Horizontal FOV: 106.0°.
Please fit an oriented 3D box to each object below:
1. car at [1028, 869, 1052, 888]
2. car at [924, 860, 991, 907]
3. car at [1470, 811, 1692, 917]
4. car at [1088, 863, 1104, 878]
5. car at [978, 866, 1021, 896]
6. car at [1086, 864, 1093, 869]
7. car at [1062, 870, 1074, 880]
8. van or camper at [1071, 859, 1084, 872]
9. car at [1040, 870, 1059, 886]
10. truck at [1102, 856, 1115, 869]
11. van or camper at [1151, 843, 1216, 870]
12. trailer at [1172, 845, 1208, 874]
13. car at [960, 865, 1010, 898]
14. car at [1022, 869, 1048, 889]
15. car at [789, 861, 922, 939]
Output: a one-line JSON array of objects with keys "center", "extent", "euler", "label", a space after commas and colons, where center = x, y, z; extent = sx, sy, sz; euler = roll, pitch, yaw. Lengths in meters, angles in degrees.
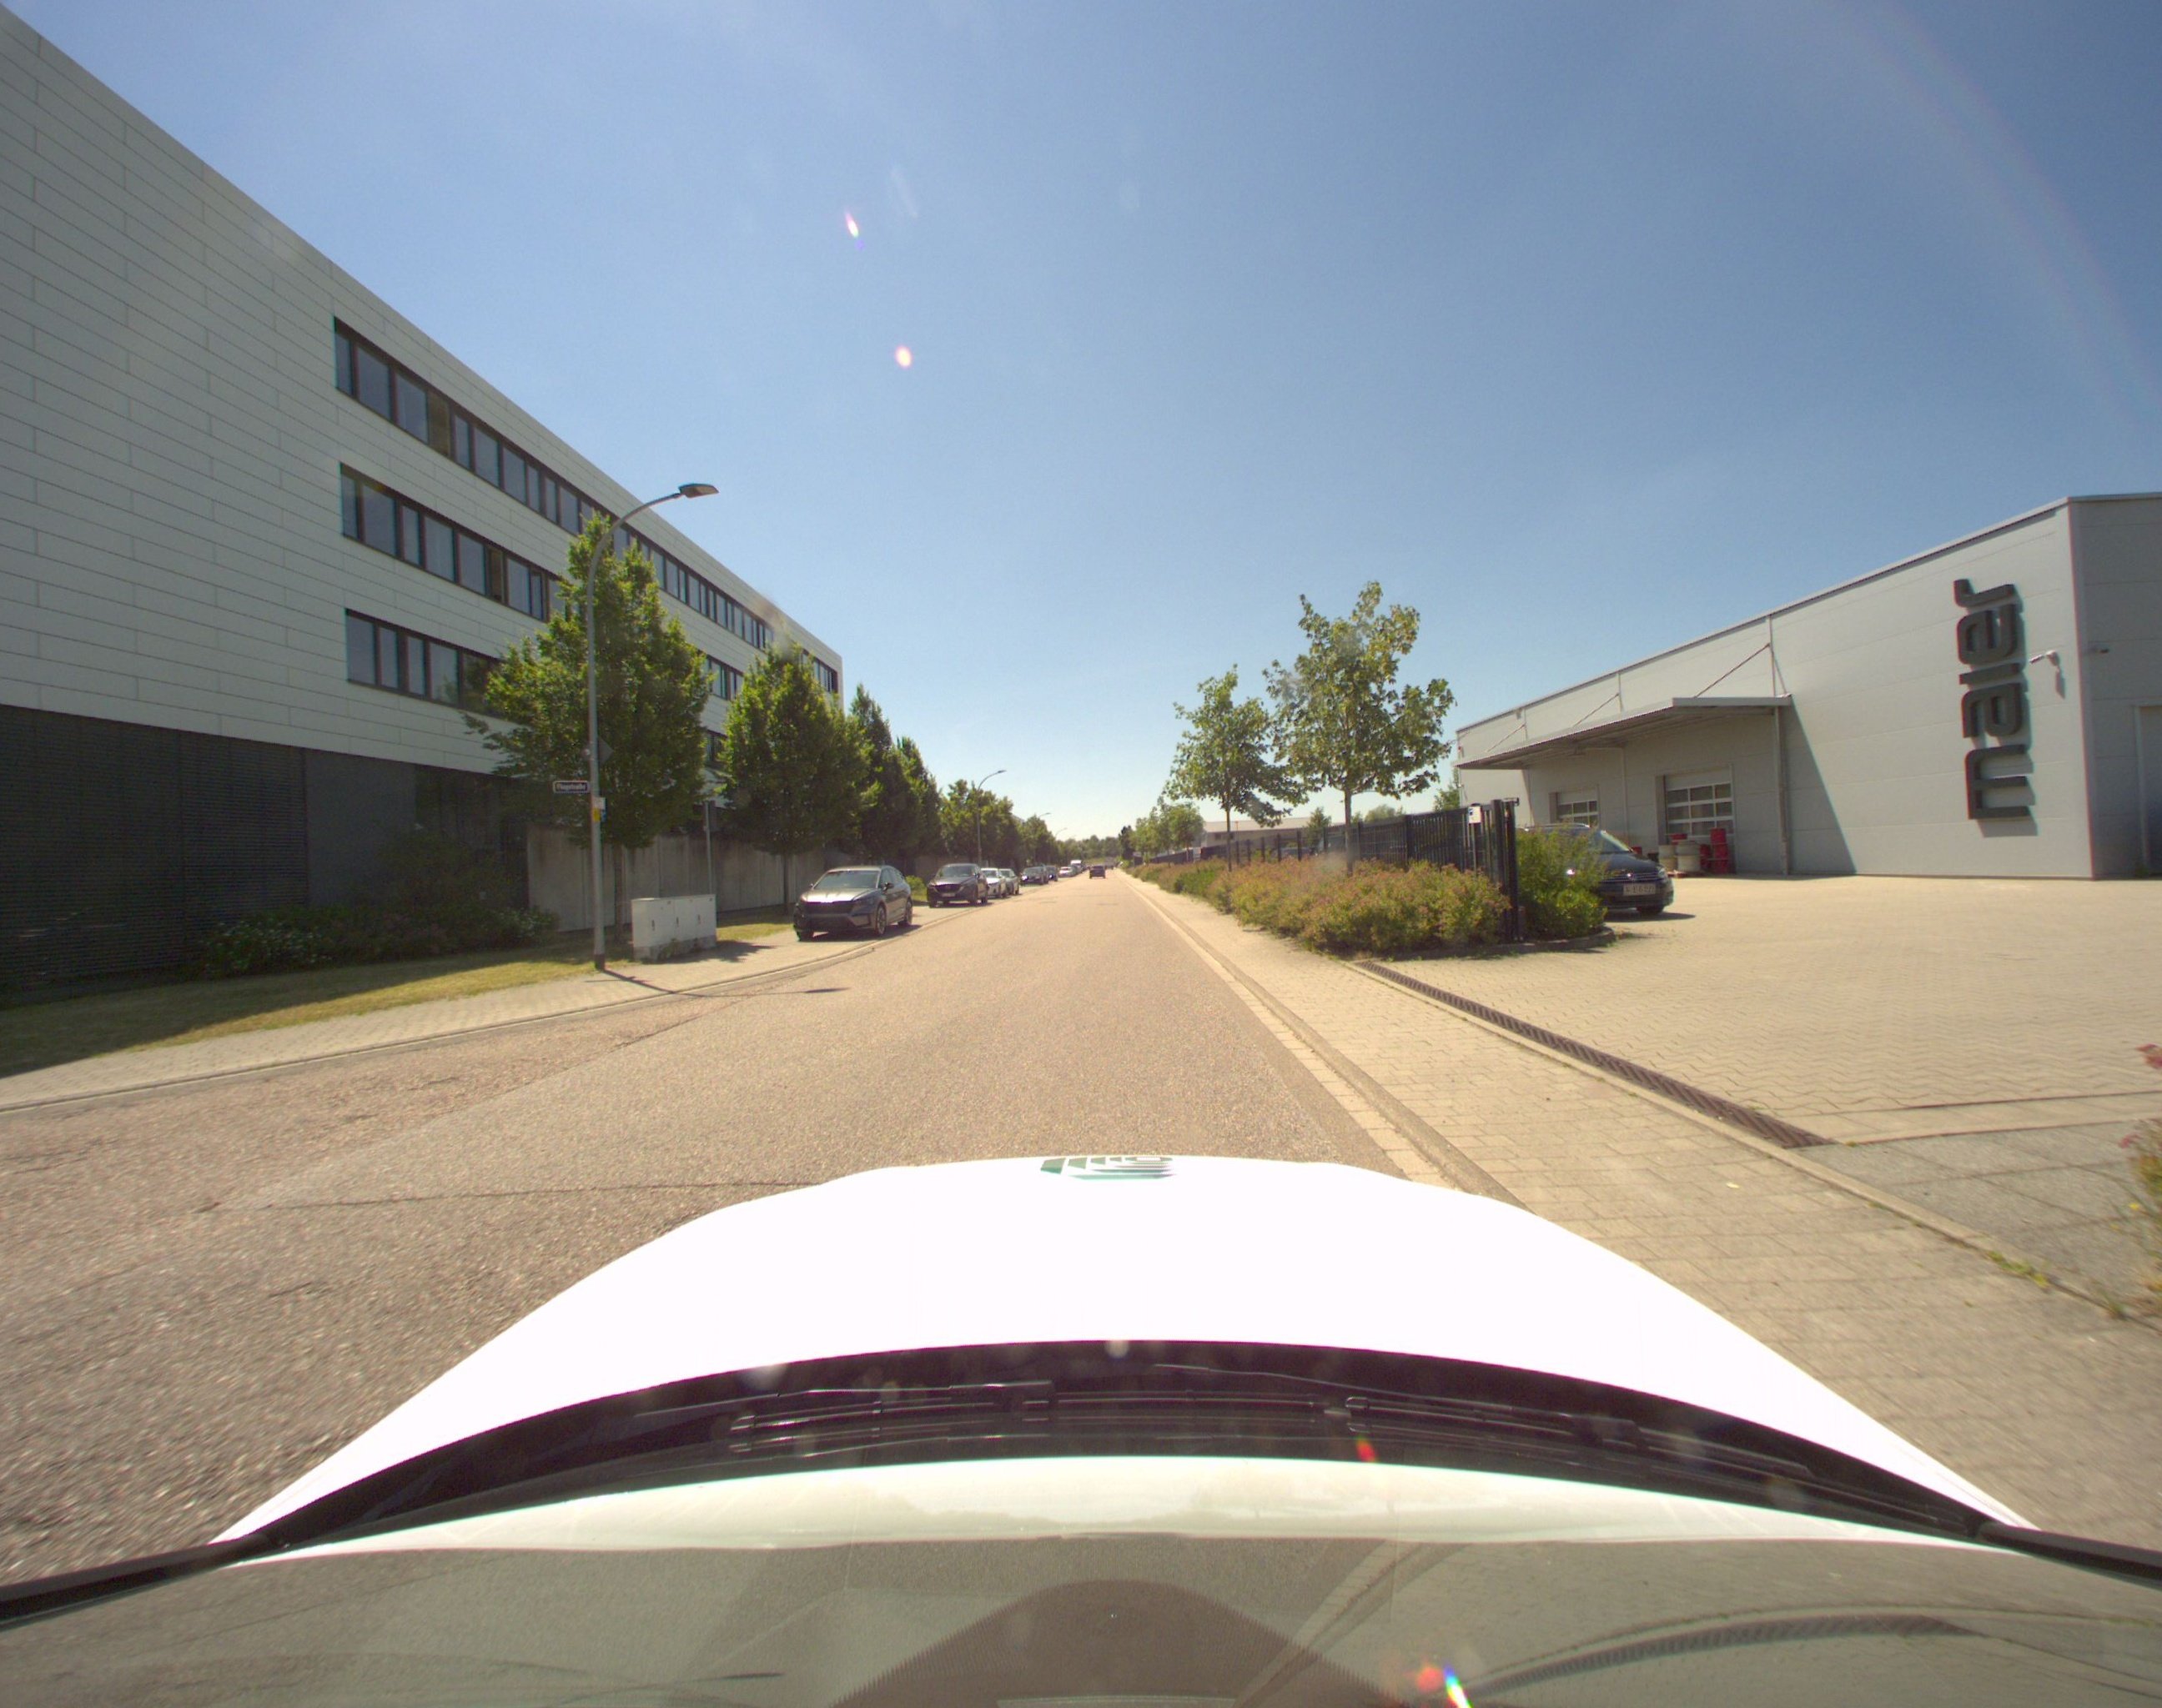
[{"center": [-3.606, 2.187, 72.863], "extent": [1.765, 1.611, 4.851], "euler": [-2, -2, 1], "label": "car"}, {"center": [-4.788, 1.097, 32.223], "extent": [1.764, 1.623, 4.583], "euler": [-2, 0, 1], "label": "car"}, {"center": [8.763, 0.157, 14.675], "extent": [1.803, 1.552, 3.578], "euler": [-4, 0, 2], "label": "car"}, {"center": [1.771, 1.865, 92.971], "extent": [1.783, 1.623, 3.810], "euler": [-1, -2, 2], "label": "car"}, {"center": [-4.401, 1.432, 44.430], "extent": [1.764, 1.431, 3.941], "euler": [-2, 0, 1], "label": "car"}, {"center": [2.411, 3.624, 236.376], "extent": [1.791, 1.487, 4.256], "euler": [-2, -1, 3], "label": "car"}, {"center": [-1.879, 3.020, 117.440], "extent": [1.715, 1.476, 3.855], "euler": [-2, -2, -1], "label": "car"}, {"center": [-0.657, 2.233, 159.794], "extent": [2.069, 2.483, 6.136], "euler": [-1, -2, 4], "label": "van or camper"}, {"center": [-3.269, 2.525, 85.249], "extent": [1.765, 1.611, 4.247], "euler": [-2, -2, 0], "label": "car"}, {"center": [6.474, 2.080, 189.641], "extent": [2.921, 2.974, 6.421], "euler": [-1, -2, 2], "label": "truck"}, {"center": [11.288, 0.285, 89.945], "extent": [6.734, 2.585, 2.635], "euler": [-3, -2, 0], "label": "van or camper"}, {"center": [9.827, 0.516, 73.630], "extent": [2.816, 2.403, 1.418], "euler": [-4, -2, -3], "label": "trailer"}, {"center": [-4.601, 1.307, 39.692], "extent": [1.764, 1.431, 4.202], "euler": [-2, 0, 1], "label": "car"}, {"center": [-3.736, 2.034, 67.094], "extent": [1.764, 1.431, 4.202], "euler": [-2, 0, 1], "label": "car"}, {"center": [-5.241, 1.037, 19.591], "extent": [1.764, 1.588, 4.482], "euler": [-3, -2, 2], "label": "car"}]
